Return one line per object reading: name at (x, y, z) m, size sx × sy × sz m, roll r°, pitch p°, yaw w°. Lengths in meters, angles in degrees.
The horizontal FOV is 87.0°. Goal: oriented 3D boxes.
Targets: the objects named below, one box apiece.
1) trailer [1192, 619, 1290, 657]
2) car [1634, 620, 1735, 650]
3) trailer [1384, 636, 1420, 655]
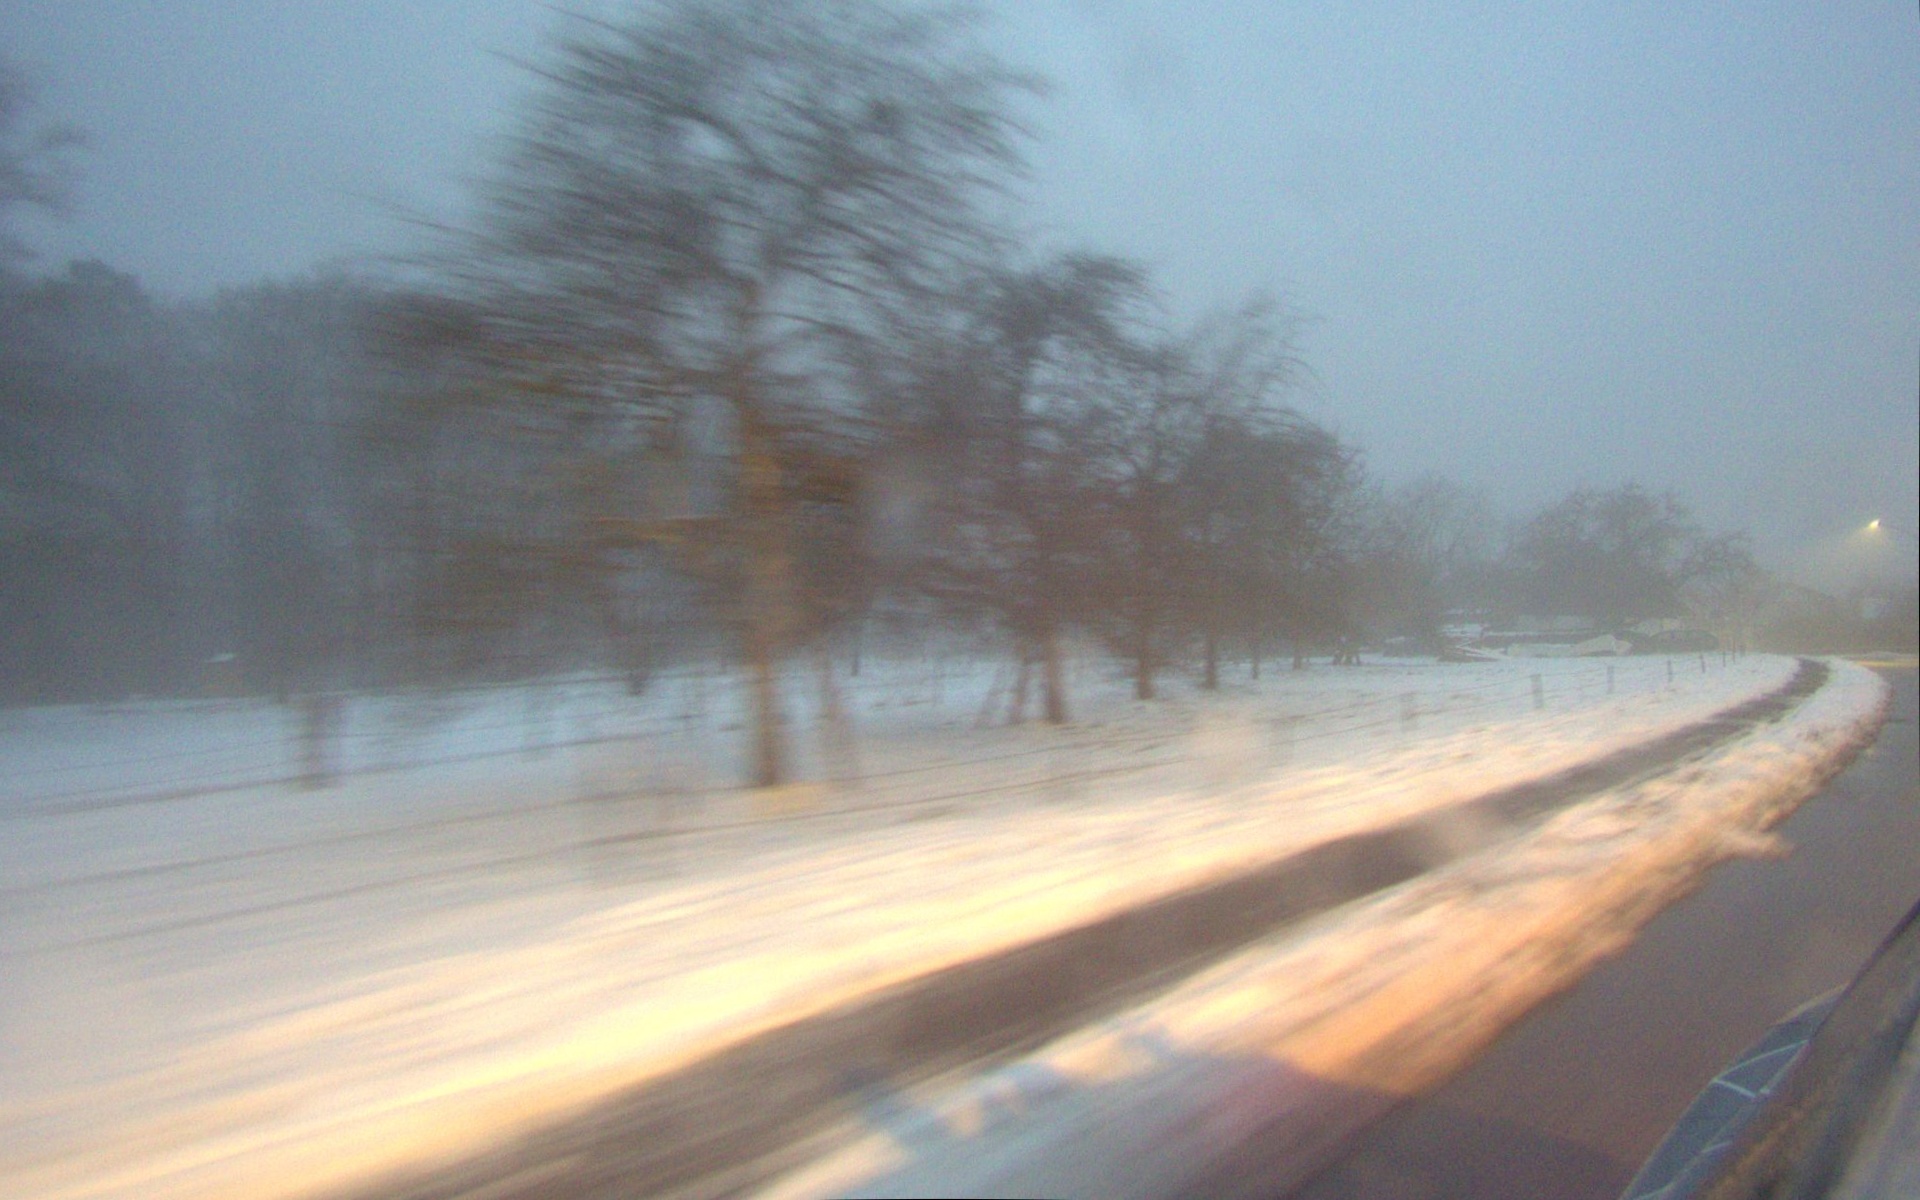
trailer at (15.290, 2.100, 55.159) m, size 4.717 × 1.968 × 2.199 m, roll -2°, pitch -3°, yaw 31°
car at (40.411, 1.981, 56.579) m, size 4.435 × 1.400 × 2.008 m, roll -5°, pitch -5°, yaw 36°
trailer at (26.199, 2.693, 59.971) m, size 1.831 × 0.958 × 3.628 m, roll 2°, pitch -1°, yaw 26°
